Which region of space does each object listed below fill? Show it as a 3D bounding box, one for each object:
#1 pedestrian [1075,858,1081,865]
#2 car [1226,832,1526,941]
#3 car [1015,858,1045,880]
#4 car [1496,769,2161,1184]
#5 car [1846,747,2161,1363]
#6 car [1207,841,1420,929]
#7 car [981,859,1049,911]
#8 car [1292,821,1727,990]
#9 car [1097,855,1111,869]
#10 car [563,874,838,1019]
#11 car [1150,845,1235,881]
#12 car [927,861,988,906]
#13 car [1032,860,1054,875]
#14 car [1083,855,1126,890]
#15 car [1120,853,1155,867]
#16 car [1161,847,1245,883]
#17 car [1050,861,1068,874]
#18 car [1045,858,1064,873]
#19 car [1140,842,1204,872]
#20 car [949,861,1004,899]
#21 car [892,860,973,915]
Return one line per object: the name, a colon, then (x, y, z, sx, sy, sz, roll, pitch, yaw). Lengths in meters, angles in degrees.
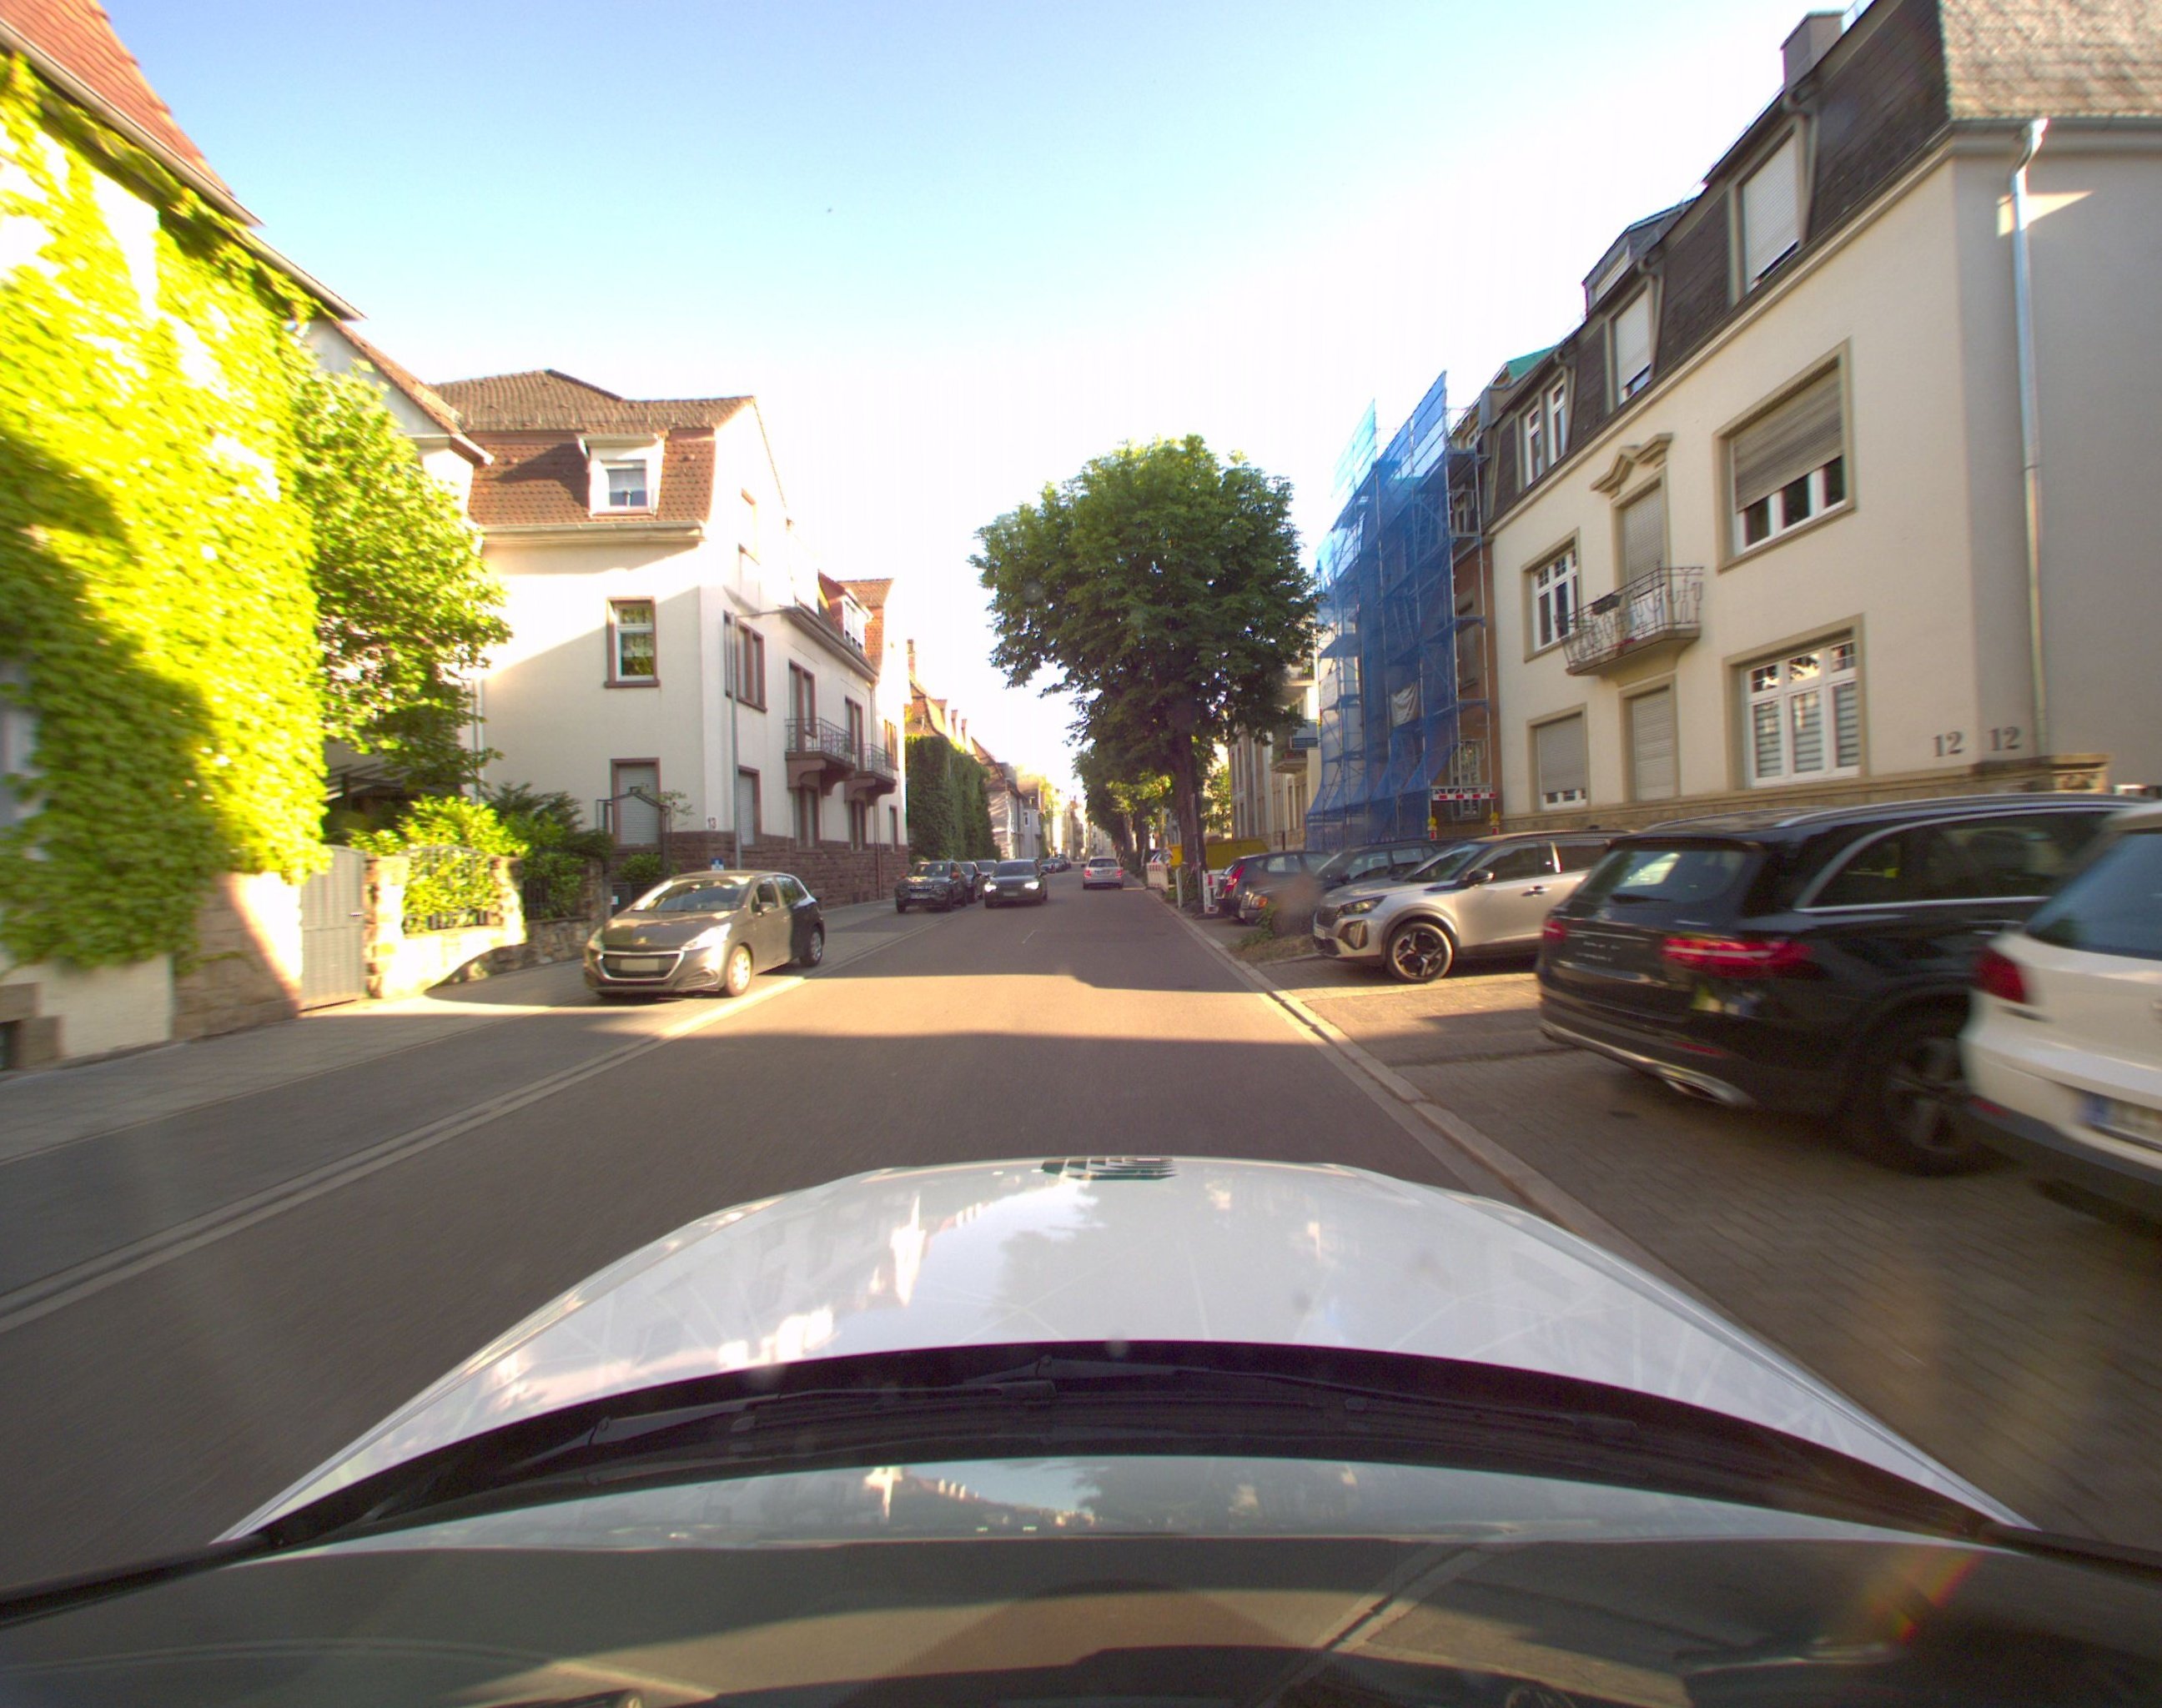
pedestrian: (-0.688, 1.790, 202.416, 1.215, 1.721, 1.505, -1, 0, 4)
car: (5.169, 0.553, 14.765, 4.701, 1.535, 1.851, -4, 0, 1)
car: (-3.666, 1.043, 58.734, 1.697, 1.460, 3.920, -1, 0, 3)
car: (4.872, 0.459, 4.411, 4.317, 1.683, 1.706, -4, 0, 0)
car: (4.874, 0.431, 2.148, 3.932, 1.683, 1.707, -4, 0, 4)
car: (4.807, 0.623, 17.292, 3.971, 1.492, 1.852, -4, 0, 2)
car: (-2.062, 0.952, 26.533, 1.766, 1.448, 4.001, -3, 0, 1)
car: (4.857, 0.556, 9.713, 4.141, 1.539, 1.851, -4, 0, 1)
car: (2.901, 0.960, 101.127, 1.617, 1.570, 3.682, -2, 0, 2)
car: (-4.718, 1.046, 10.815, 1.647, 1.447, 4.006, -1, 0, 2)
car: (5.710, 0.438, 41.920, 4.127, 1.534, 1.688, -4, 0, 3)
car: (-4.365, 1.009, 29.346, 1.649, 1.447, 3.842, -1, 0, -1)
car: (-3.515, 1.249, 76.102, 1.646, 1.324, 4.049, -1, -1, 4)
car: (1.045, 0.795, 36.108, 1.777, 1.437, 3.852, -1, -1, 2)
car: (7.113, 0.750, 102.574, 4.172, 1.475, 1.853, -4, -1, 3)
car: (5.868, 0.517, 39.339, 3.832, 1.462, 1.689, -4, 0, 6)
car: (-2.449, 1.482, 90.285, 1.524, 1.319, 4.231, -1, -1, 4)
car: (-2.781, 1.171, 85.171, 1.647, 1.445, 3.962, -1, 0, 2)
car: (6.431, 0.185, 57.937, 4.299, 1.807, 2.000, -4, 0, 0)
car: (-4.403, 1.053, 34.974, 1.787, 1.461, 4.775, -1, 0, -1)
car: (-4.447, 0.967, 24.905, 1.647, 1.486, 3.765, -1, 0, 2)
